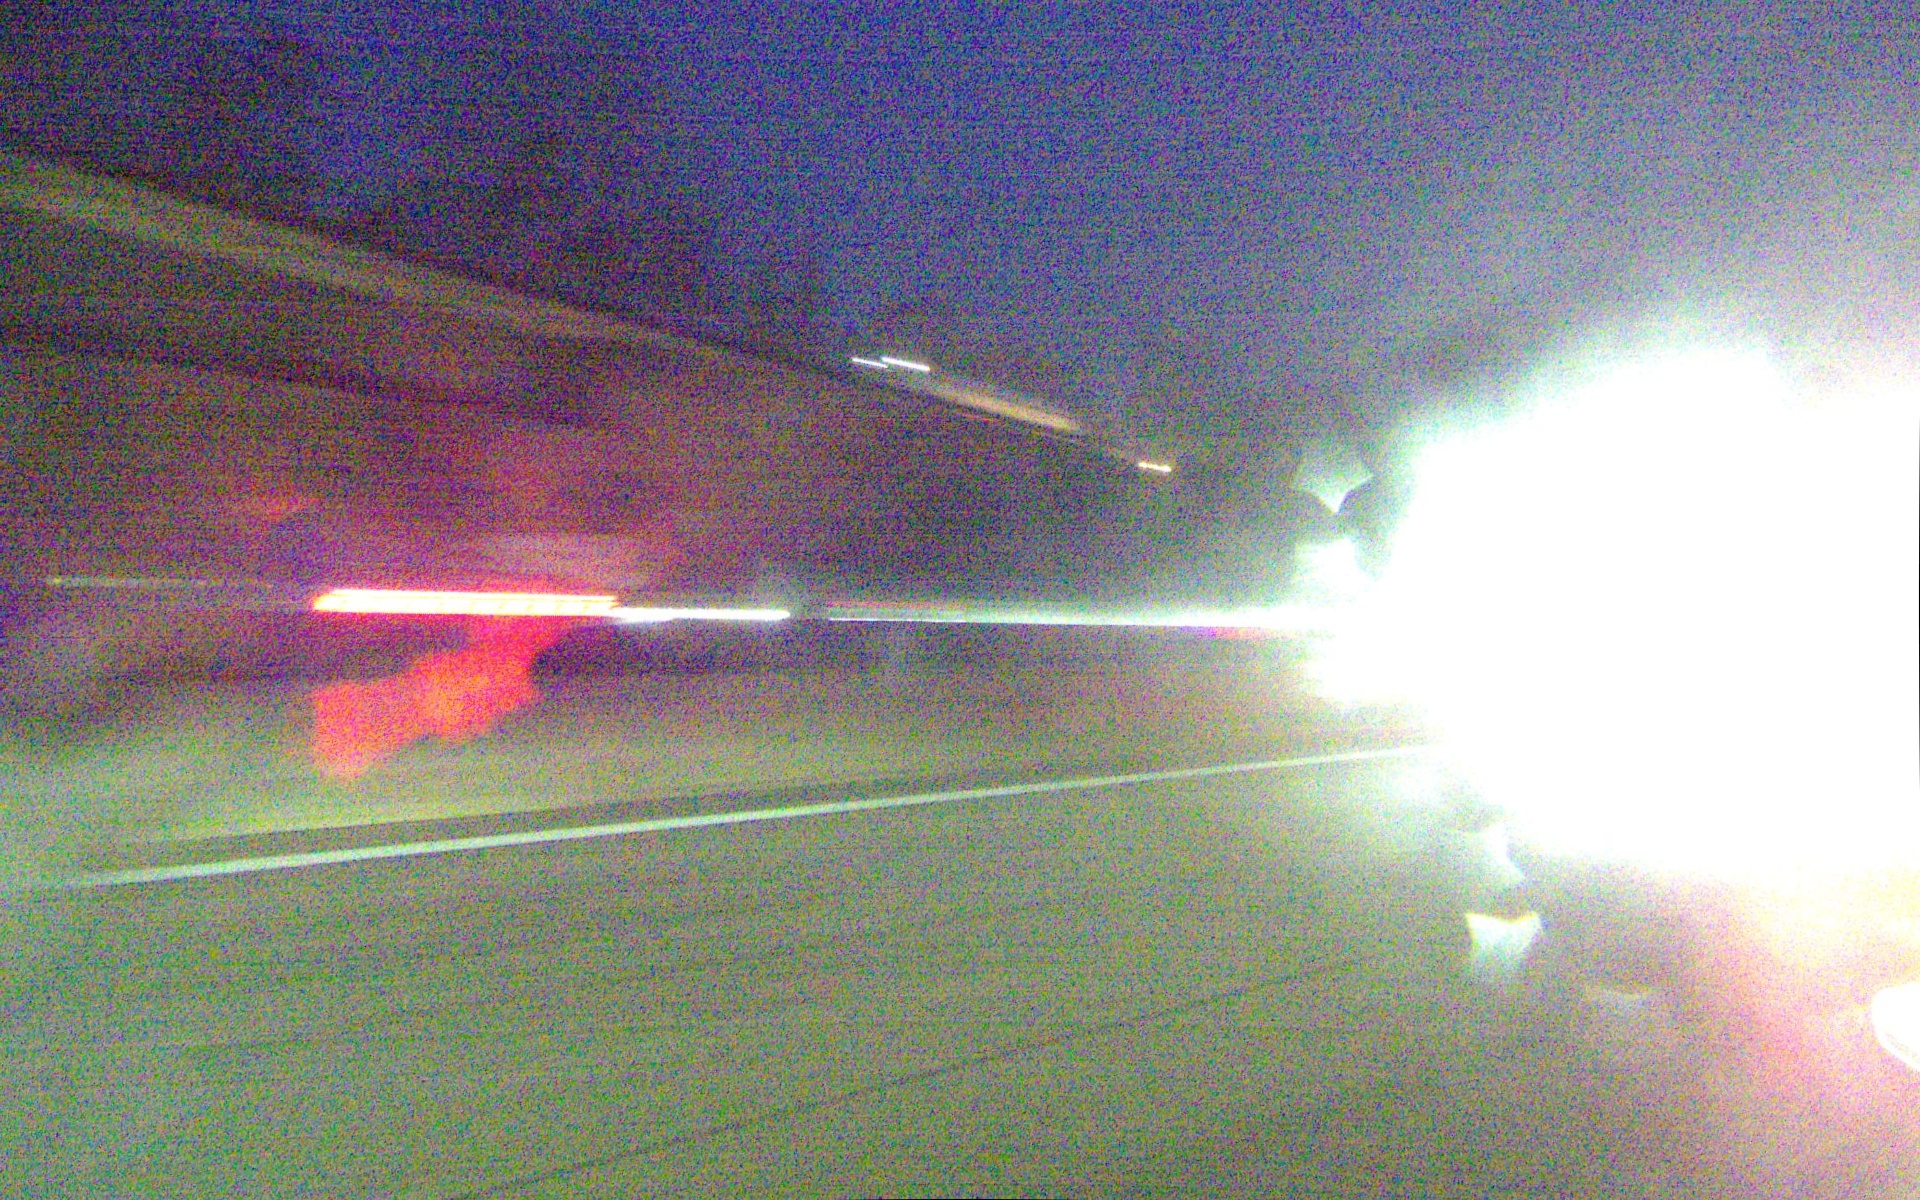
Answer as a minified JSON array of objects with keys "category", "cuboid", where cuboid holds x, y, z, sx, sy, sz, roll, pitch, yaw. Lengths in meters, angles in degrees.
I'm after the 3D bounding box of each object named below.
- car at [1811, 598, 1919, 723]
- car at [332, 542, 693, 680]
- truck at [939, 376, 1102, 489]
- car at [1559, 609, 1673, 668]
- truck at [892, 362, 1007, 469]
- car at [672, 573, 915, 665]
[{"category":"car","cuboid":[14.328,0.861,14.592,4.705,1.561,1.845,1,3,-36]},{"category":"car","cuboid":[-5.609,0.156,12.782,3.954,1.512,1.733,2,0,-31]},{"category":"truck","cuboid":[3.419,-8.346,51.823,2.380,3.830,11.187,2,-1,38]},{"category":"car","cuboid":[18.667,1.062,28.521,3.966,1.512,1.561,1,0,-39]},{"category":"truck","cuboid":[-0.429,-8.466,46.866,2.380,3.830,5.408,2,-1,38]},{"category":"car","cuboid":[-3.052,0.342,18.521,3.954,1.512,1.983,2,0,-31]}]
